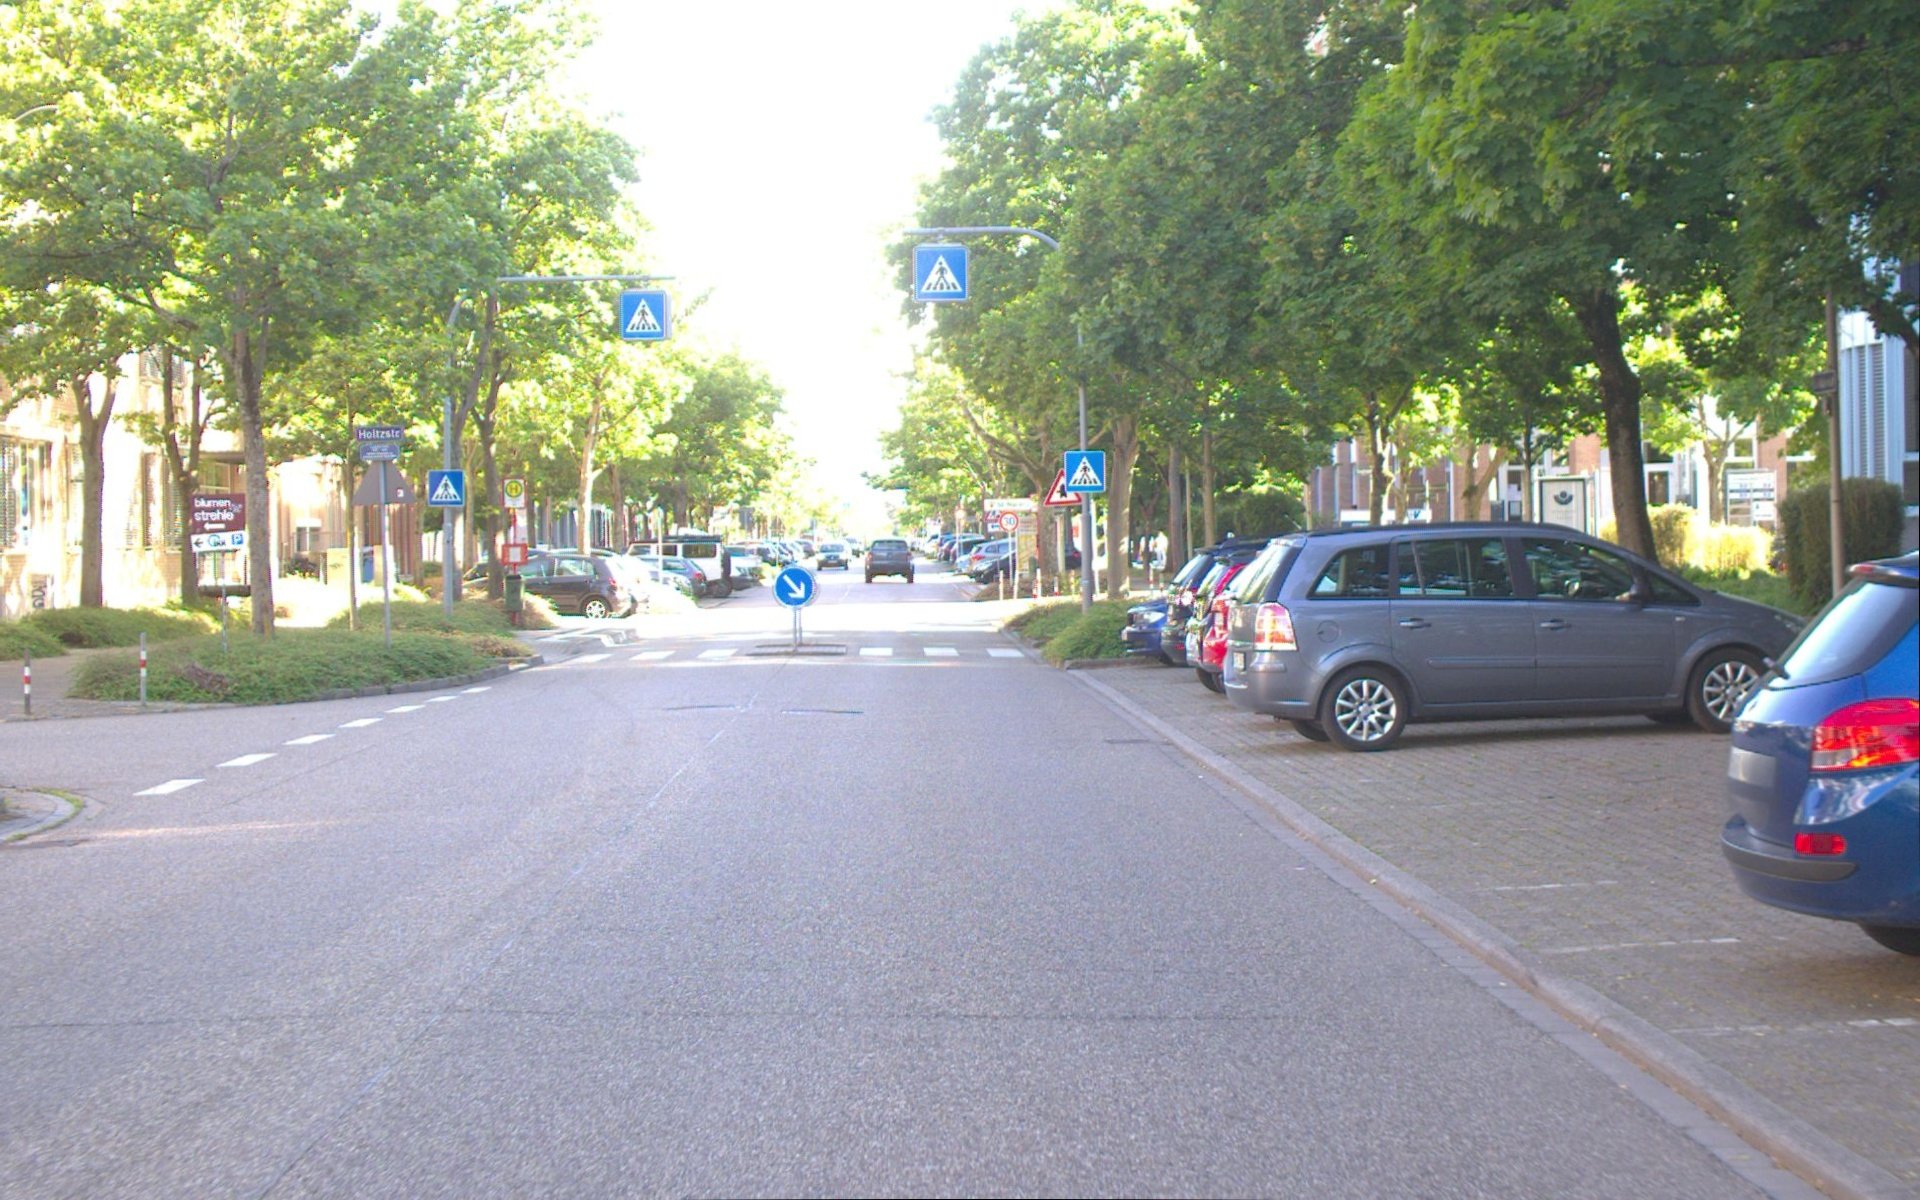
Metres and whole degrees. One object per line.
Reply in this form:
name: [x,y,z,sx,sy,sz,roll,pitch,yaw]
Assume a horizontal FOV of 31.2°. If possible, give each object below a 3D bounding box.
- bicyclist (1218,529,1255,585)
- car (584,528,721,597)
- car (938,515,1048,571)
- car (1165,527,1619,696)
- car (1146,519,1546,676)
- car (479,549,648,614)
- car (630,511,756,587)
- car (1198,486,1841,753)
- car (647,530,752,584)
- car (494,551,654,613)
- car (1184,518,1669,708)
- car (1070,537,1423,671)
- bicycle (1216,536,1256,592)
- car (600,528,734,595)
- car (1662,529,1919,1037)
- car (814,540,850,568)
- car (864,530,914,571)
bicyclist: [6.142,-0.952,76.420,0.698,1.210,0.945,-1,1,10]
car: [-9.589,-1.182,107.399,3.987,2.007,2.000,-2,1,3]
car: [1.234,-2.152,129.706,3.986,2.007,2.000,-2,1,-2]
car: [4.277,0.095,34.441,4.190,1.443,1.813,-3,1,-4]
car: [4.337,-0.045,39.040,4.190,1.530,1.813,-3,1,-4]
car: [-9.235,-0.431,79.984,3.847,1.468,1.813,0,1,-8]
car: [-8.959,-1.709,115.427,3.987,2.532,1.862,0,1,4]
car: [4.086,0.122,25.556,4.350,1.698,1.813,-3,1,-4]
car: [-10.184,-1.691,134.623,3.986,2.007,2.000,-2,1,-2]
car: [-9.500,-0.444,84.557,3.847,1.468,1.813,0,1,-7]
car: [4.347,0.104,32.440,4.190,1.530,1.813,-3,1,-4]
car: [3.605,0.034,43.751,4.190,1.468,1.813,-3,1,-4]
bicycle: [6.145,-0.800,76.438,0.684,1.210,1.975,-1,1,10]
car: [-9.370,-1.244,110.242,3.987,2.007,2.000,-2,1,3]
car: [4.505,0.463,11.335,3.949,1.509,1.813,-3,1,1]
car: [-7.143,-2.587,192.003,1.813,1.519,4.000,-2,1,0]
car: [-2.909,-2.020,141.086,1.993,1.634,4.000,0,1,-1]
